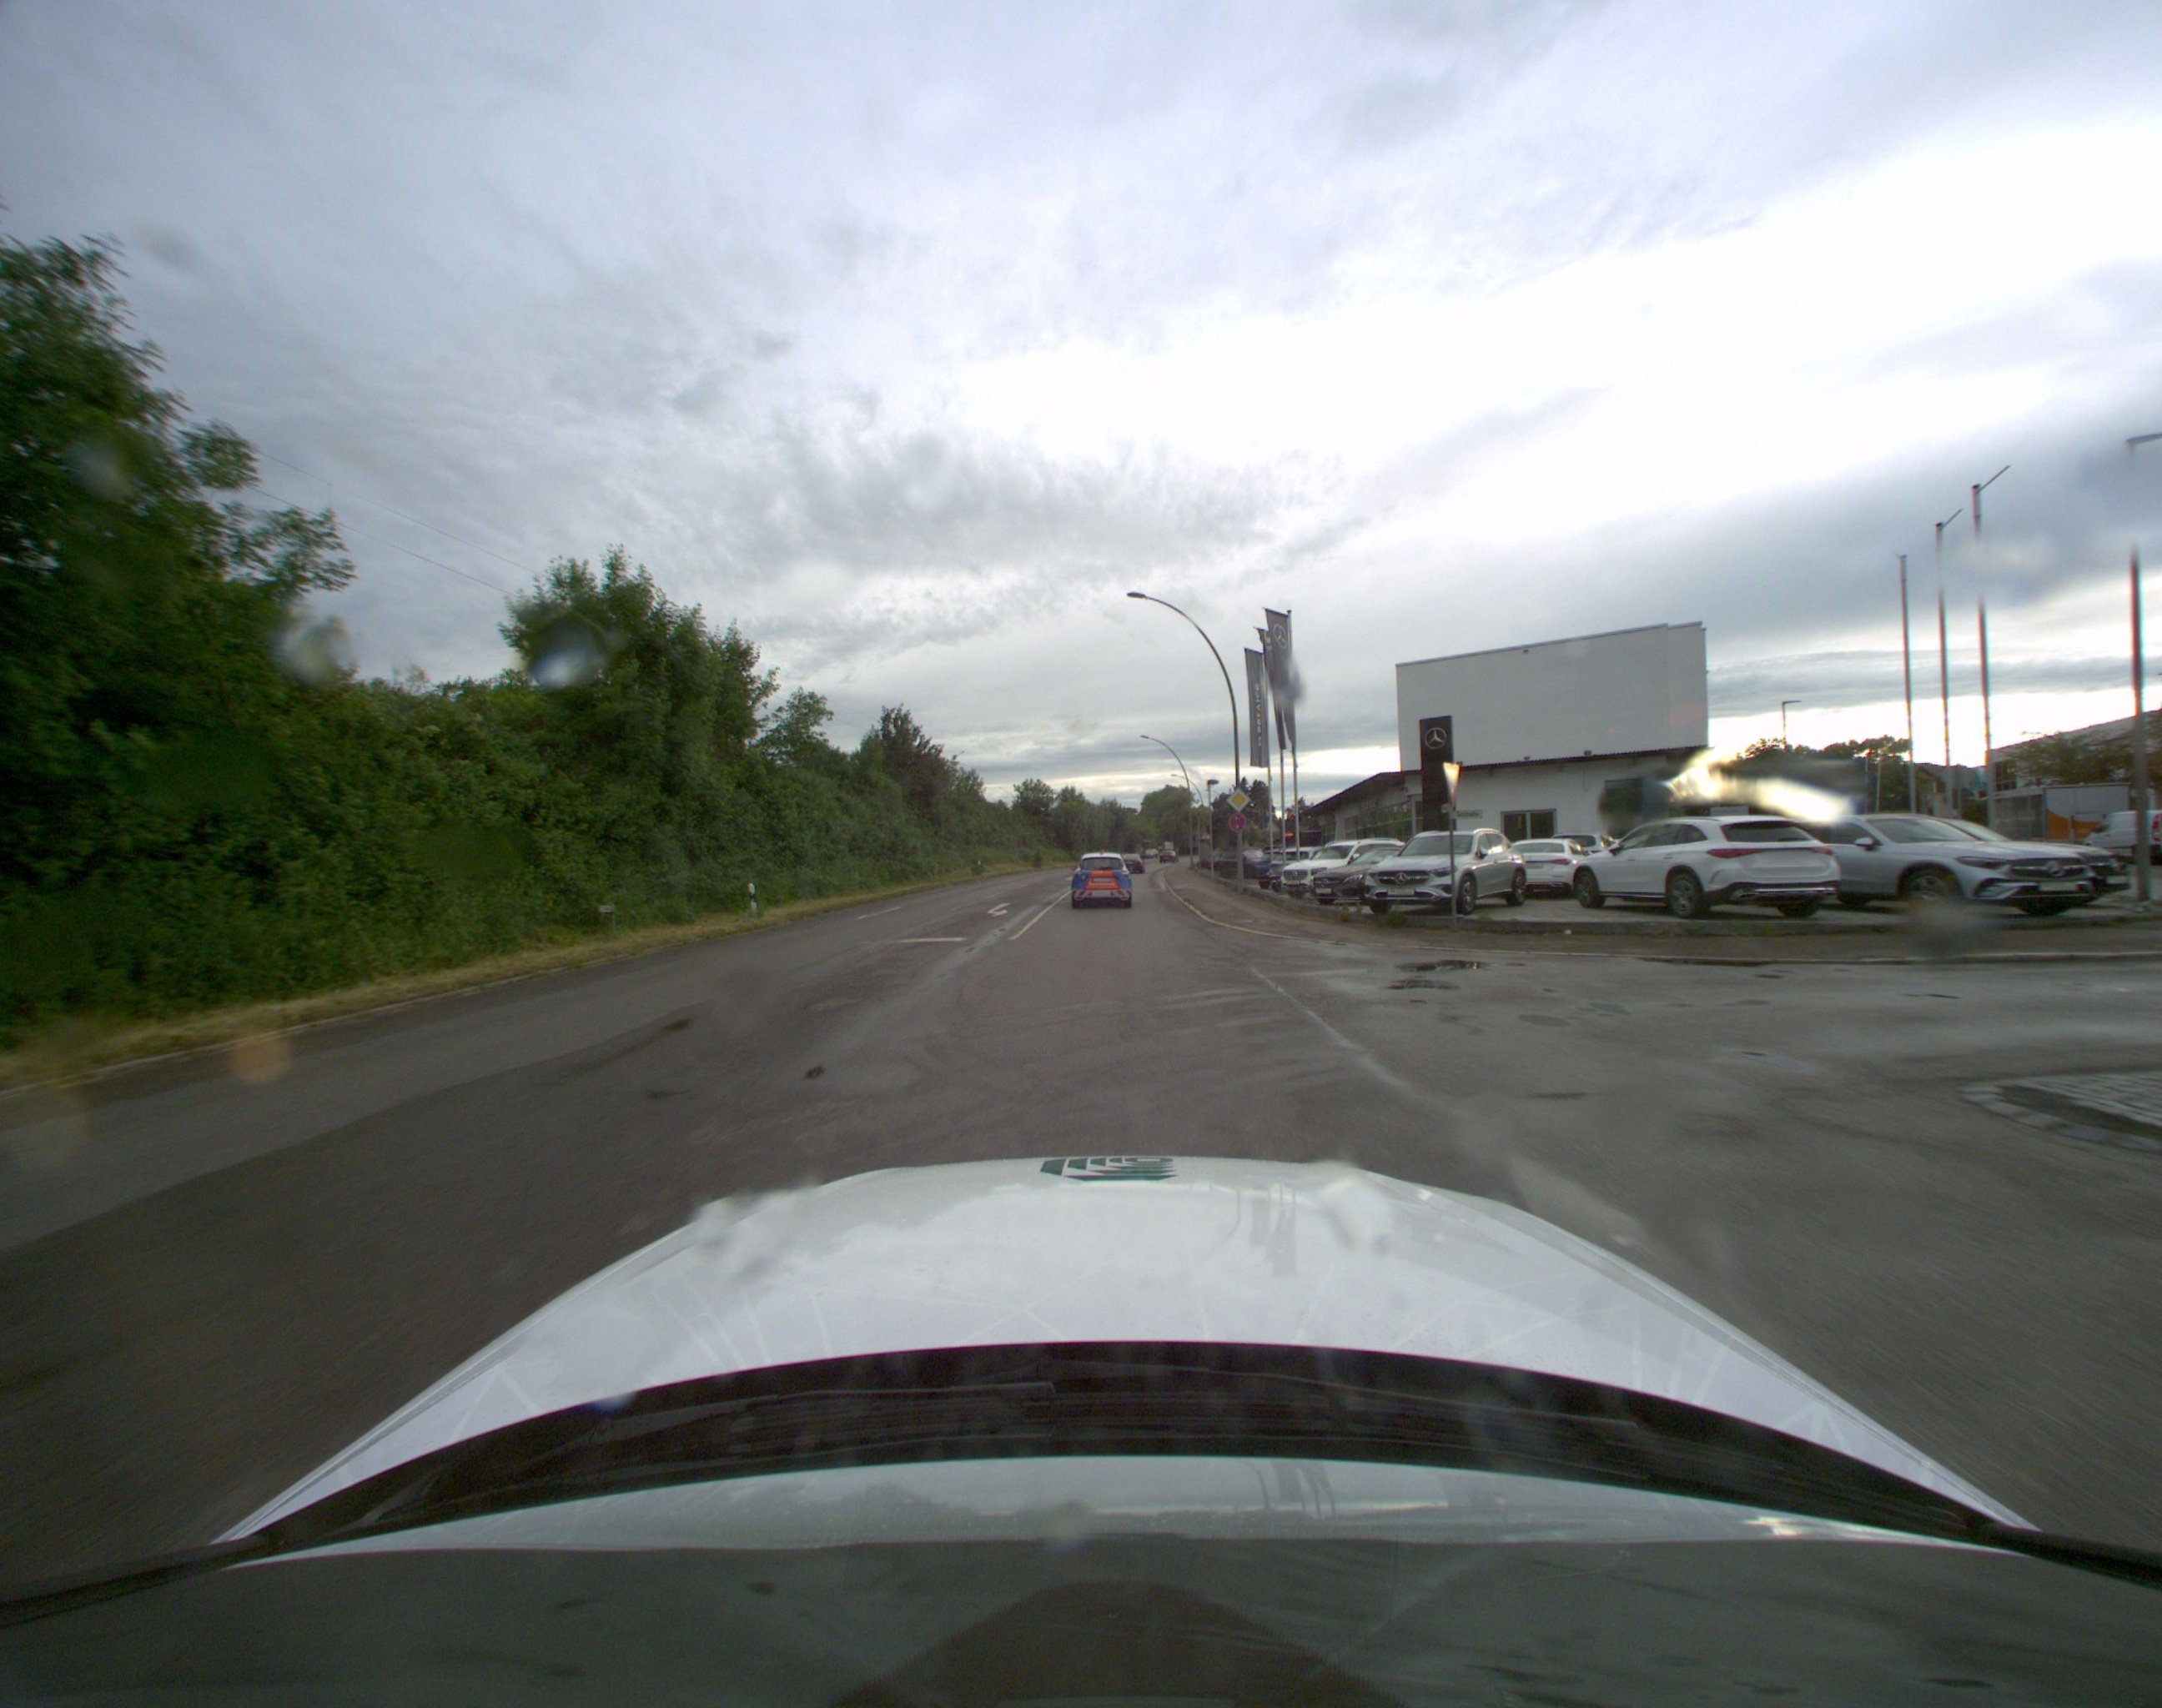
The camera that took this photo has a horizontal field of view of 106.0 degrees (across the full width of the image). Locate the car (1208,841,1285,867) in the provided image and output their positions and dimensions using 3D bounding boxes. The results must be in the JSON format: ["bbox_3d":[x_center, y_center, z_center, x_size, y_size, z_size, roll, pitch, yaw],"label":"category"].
[{"bbox_3d":[10.635,-0.019,52.452,4.385,1.479,1.947,-2,1,38],"label":"car"}]

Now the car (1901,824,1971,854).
[{"bbox_3d":[49.381,-0.852,47.123,1.974,1.596,4.026,-2,0,35],"label":"car"}]

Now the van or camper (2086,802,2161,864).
[{"bbox_3d":[37.389,-0.741,28.288,1.785,2.040,4.025,-2,0,31],"label":"van or camper"}]

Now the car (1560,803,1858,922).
[{"bbox_3d":[10.538,0.115,14.232,1.800,1.673,4.715,-2,0,4],"label":"car"}]

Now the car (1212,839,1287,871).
[{"bbox_3d":[9.545,0.056,46.401,1.845,1.608,4.514,-4,1,-24],"label":"car"}]

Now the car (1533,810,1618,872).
[{"bbox_3d":[15.052,-0.322,24.705,1.657,1.720,4.025,-1,-2,39],"label":"car"}]

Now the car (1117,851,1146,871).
[{"bbox_3d":[3.666,0.511,58.298,1.710,1.376,3.944,0,0,9],"label":"car"}]

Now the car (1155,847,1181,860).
[{"bbox_3d":[10.353,-0.090,96.894,1.976,1.420,4.021,-3,0,21],"label":"car"}]

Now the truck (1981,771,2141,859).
[{"bbox_3d":[41.883,-1.507,35.104,2.538,3.414,6.691,0,0,33],"label":"truck"}]

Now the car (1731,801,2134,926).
[{"bbox_3d":[13.616,0.125,13.556,2.015,1.676,4.505,-2,0,1],"label":"car"}]

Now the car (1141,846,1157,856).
[{"bbox_3d":[10.958,-0.478,130.818,1.980,1.474,4.716,0,0,12],"label":"car"}]

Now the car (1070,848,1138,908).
[{"bbox_3d":[0.668,0.667,24.396,1.882,1.632,4.000,0,0,1],"label":"car"}]

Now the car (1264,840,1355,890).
[{"bbox_3d":[8.575,0.394,30.431,1.709,1.599,3.839,-4,0,41],"label":"car"}]

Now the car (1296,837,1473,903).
[{"bbox_3d":[7.714,0.363,20.658,4.151,1.394,1.835,-3,0,-27],"label":"car"}]

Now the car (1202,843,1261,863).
[{"bbox_3d":[13.095,-0.090,70.886,4.637,1.662,2.013,0,0,36],"label":"car"}]

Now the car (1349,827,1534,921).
[{"bbox_3d":[7.438,0.321,16.576,1.942,1.671,4.391,-2,0,45],"label":"car"}]

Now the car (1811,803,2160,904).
[{"bbox_3d":[16.714,-0.019,15.421,1.841,1.604,4.113,-2,0,-7],"label":"car"}]

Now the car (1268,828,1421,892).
[{"bbox_3d":[7.904,0.152,24.321,4.443,1.652,1.908,-3,0,-32],"label":"car"}]

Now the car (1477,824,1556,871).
[{"bbox_3d":[15.977,-0.264,29.805,1.879,1.545,4.026,-2,1,37],"label":"car"}]

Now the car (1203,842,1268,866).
[{"bbox_3d":[10.604,0.000,56.035,3.950,1.555,1.910,0,0,43],"label":"car"}]

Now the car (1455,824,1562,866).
[{"bbox_3d":[17.608,-0.367,33.594,3.517,1.477,1.792,-4,0,42],"label":"car"}]

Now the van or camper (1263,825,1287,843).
[{"bbox_3d":[31.524,-3.277,132.166,2.022,2.593,6.631,-3,0,28],"label":"van or camper"}]

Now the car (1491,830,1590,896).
[{"bbox_3d":[11.715,0.186,20.678,1.941,1.499,4.393,-2,0,31],"label":"car"}]

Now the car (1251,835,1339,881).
[{"bbox_3d":[9.157,0.140,34.619,1.820,1.632,4.395,-5,-1,40],"label":"car"}]

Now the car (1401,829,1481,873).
[{"bbox_3d":[14.218,-0.148,32.058,1.879,1.545,4.026,-2,1,39],"label":"car"}]

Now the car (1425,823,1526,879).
[{"bbox_3d":[12.494,-0.060,25.673,1.660,1.454,3.947,-9,-7,42],"label":"car"}]
